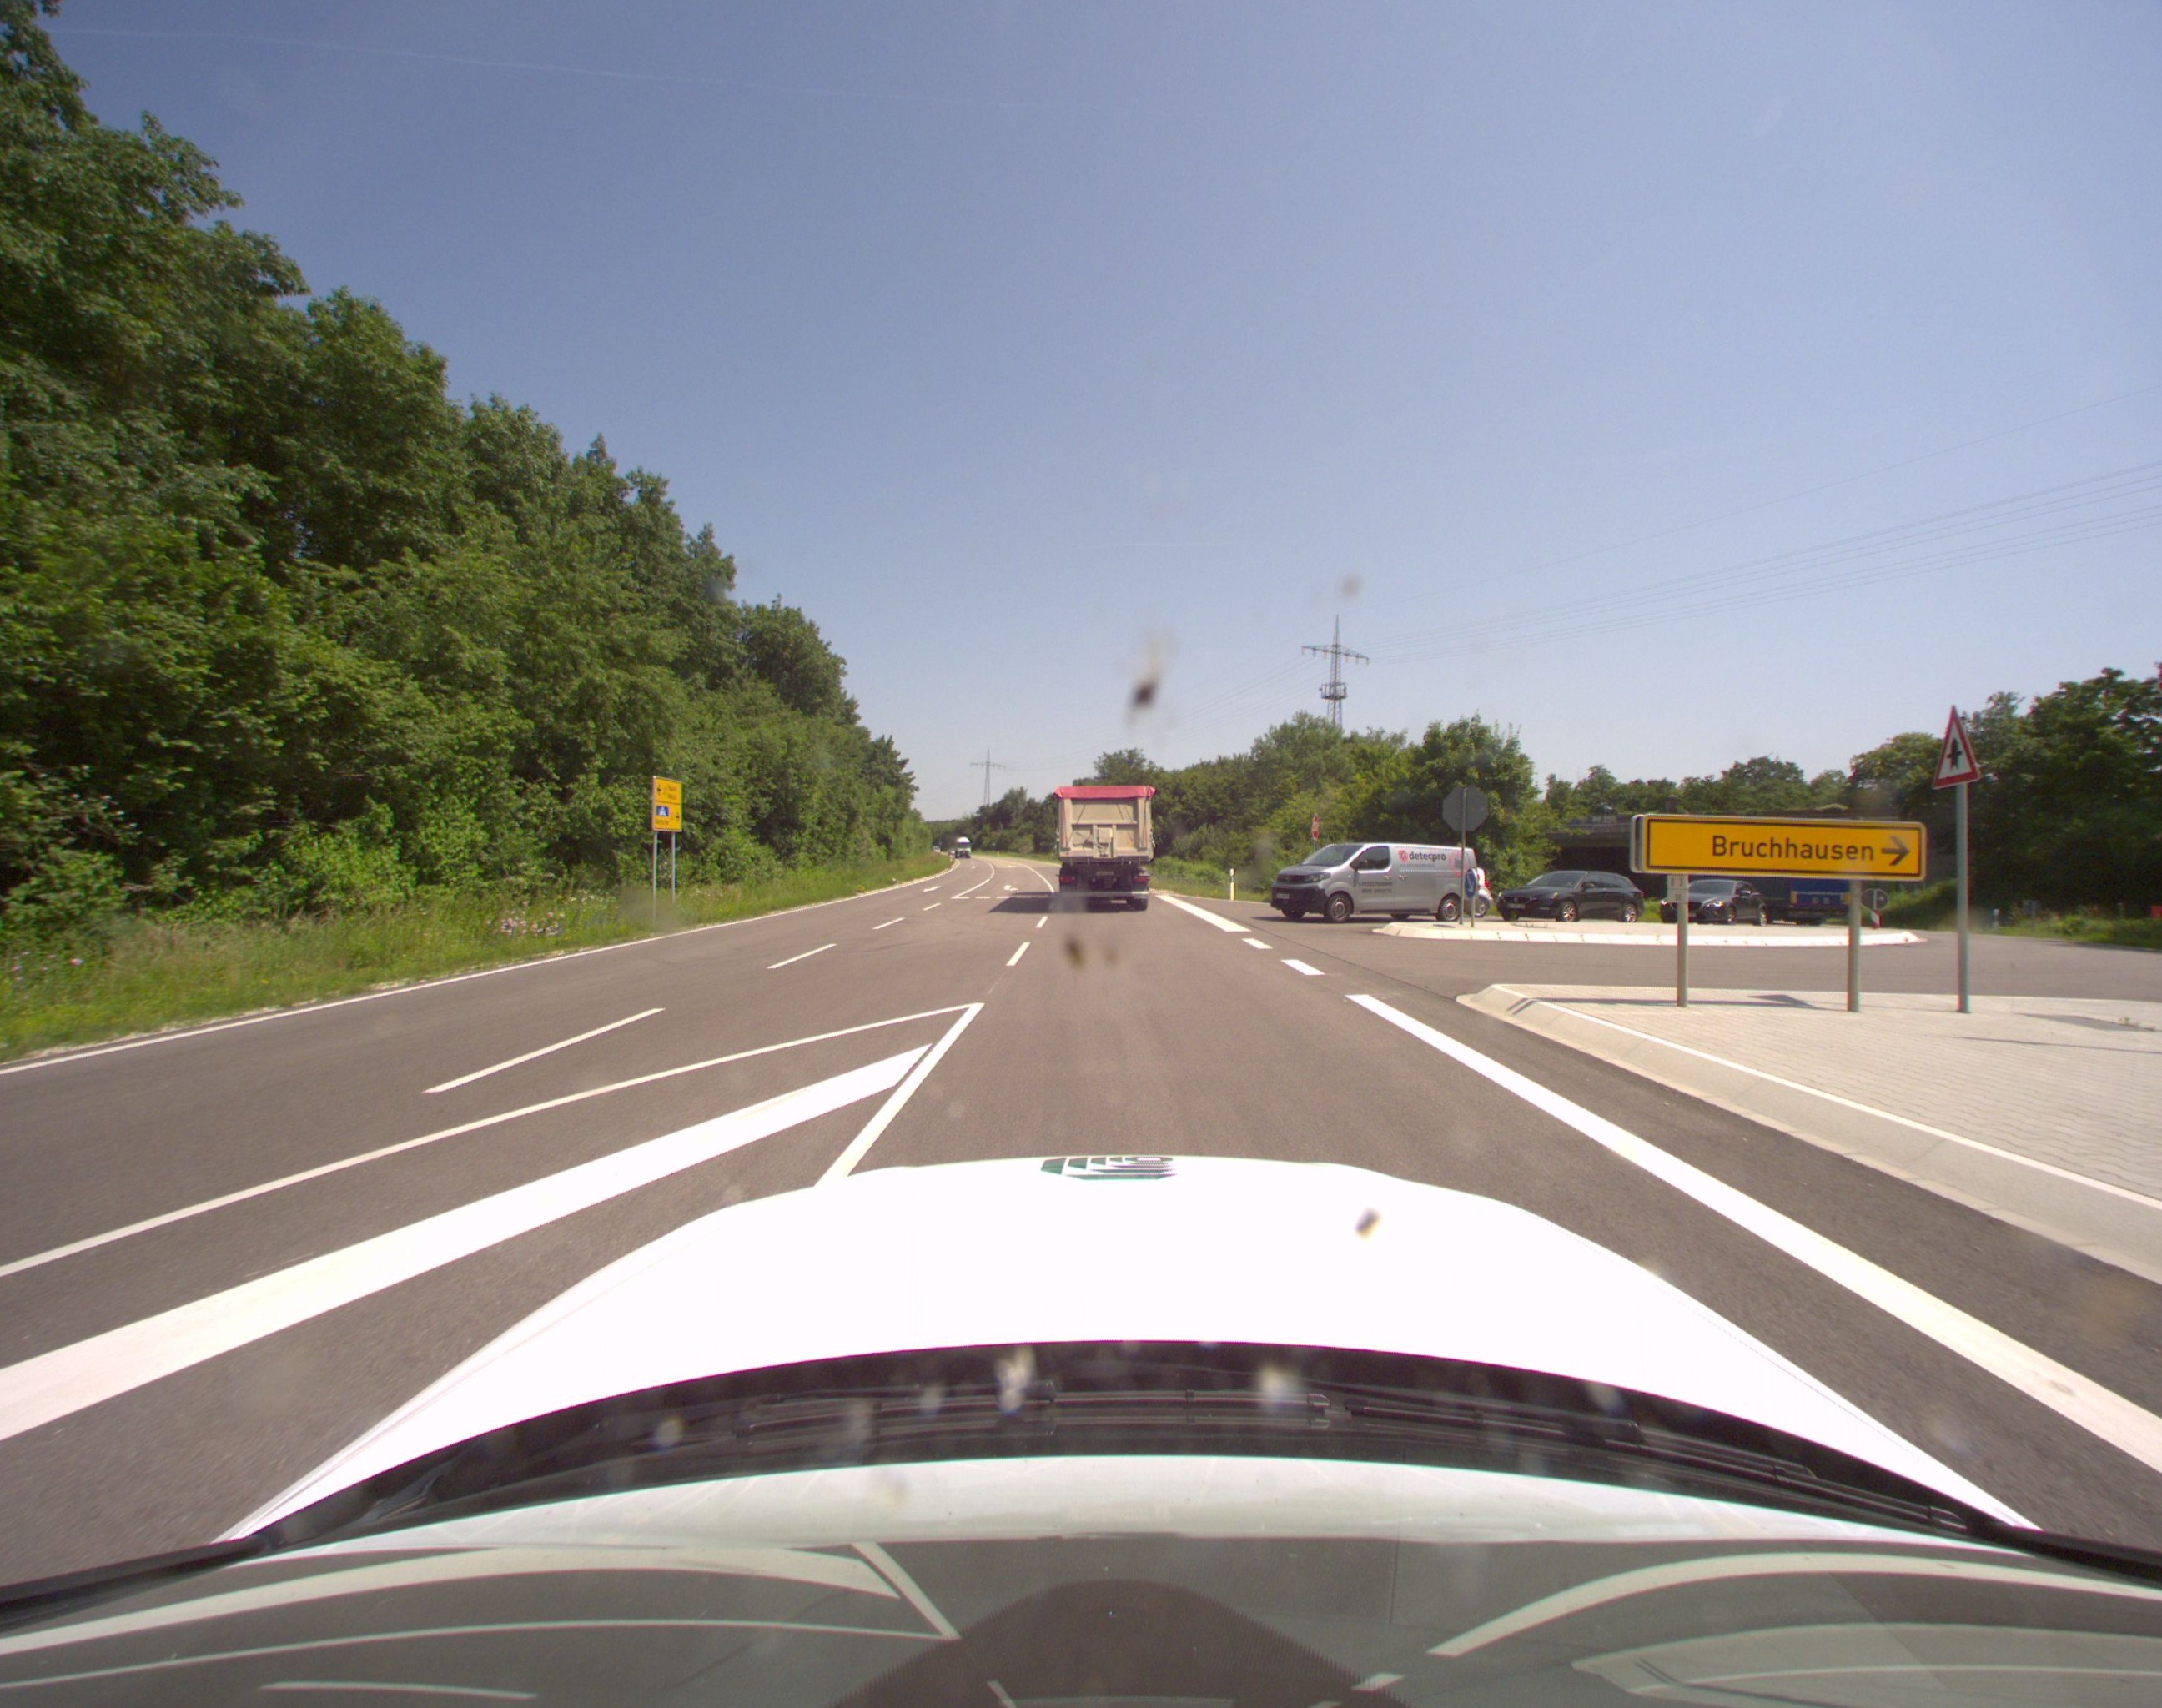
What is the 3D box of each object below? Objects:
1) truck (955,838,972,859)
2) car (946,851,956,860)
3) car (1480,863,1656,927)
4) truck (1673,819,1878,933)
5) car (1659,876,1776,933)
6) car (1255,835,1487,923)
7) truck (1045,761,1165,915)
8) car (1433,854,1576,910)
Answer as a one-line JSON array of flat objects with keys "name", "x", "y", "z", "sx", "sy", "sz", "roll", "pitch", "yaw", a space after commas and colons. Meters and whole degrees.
[{"name": "truck", "x": -20.799, "y": -0.915, "z": 144.502, "sx": 2.625, "sy": 3.671, "sz": 8.774, "roll": -1, "pitch": 0, "yaw": -7}, {"name": "car", "x": -24.807, "y": 0.289, "z": 155.884, "sx": 1.842, "sy": 1.779, "sz": 4.878, "roll": -1, "pitch": -1, "yaw": -9}, {"name": "car", "x": 13.037, "y": 1.100, "z": 21.770, "sx": 4.572, "sy": 1.474, "sz": 1.852, "roll": 4, "pitch": -2, "yaw": -27}, {"name": "truck", "x": 37.985, "y": 1.082, "z": 45.714, "sx": 3.335, "sy": 5.315, "sz": 15.415, "roll": -1, "pitch": -1, "yaw": 19}, {"name": "car", "x": 19.711, "y": 1.551, "z": 25.178, "sx": 4.113, "sy": 1.599, "sz": 1.792, "roll": 3, "pitch": -3, "yaw": -36}, {"name": "car", "x": 6.981, "y": 0.636, "z": 19.608, "sx": 5.232, "sy": 1.907, "sz": 1.999, "roll": 2, "pitch": -2, "yaw": -21}, {"name": "truck", "x": 0.358, "y": -0.443, "z": 27.032, "sx": 2.887, "sy": 3.962, "sz": 11.917, "roll": 0, "pitch": 0, "yaw": -4}, {"name": "car", "x": 13.077, "y": 0.827, "z": 25.153, "sx": 3.999, "sy": 1.580, "sz": 1.831, "roll": 0, "pitch": -1, "yaw": -24}]
